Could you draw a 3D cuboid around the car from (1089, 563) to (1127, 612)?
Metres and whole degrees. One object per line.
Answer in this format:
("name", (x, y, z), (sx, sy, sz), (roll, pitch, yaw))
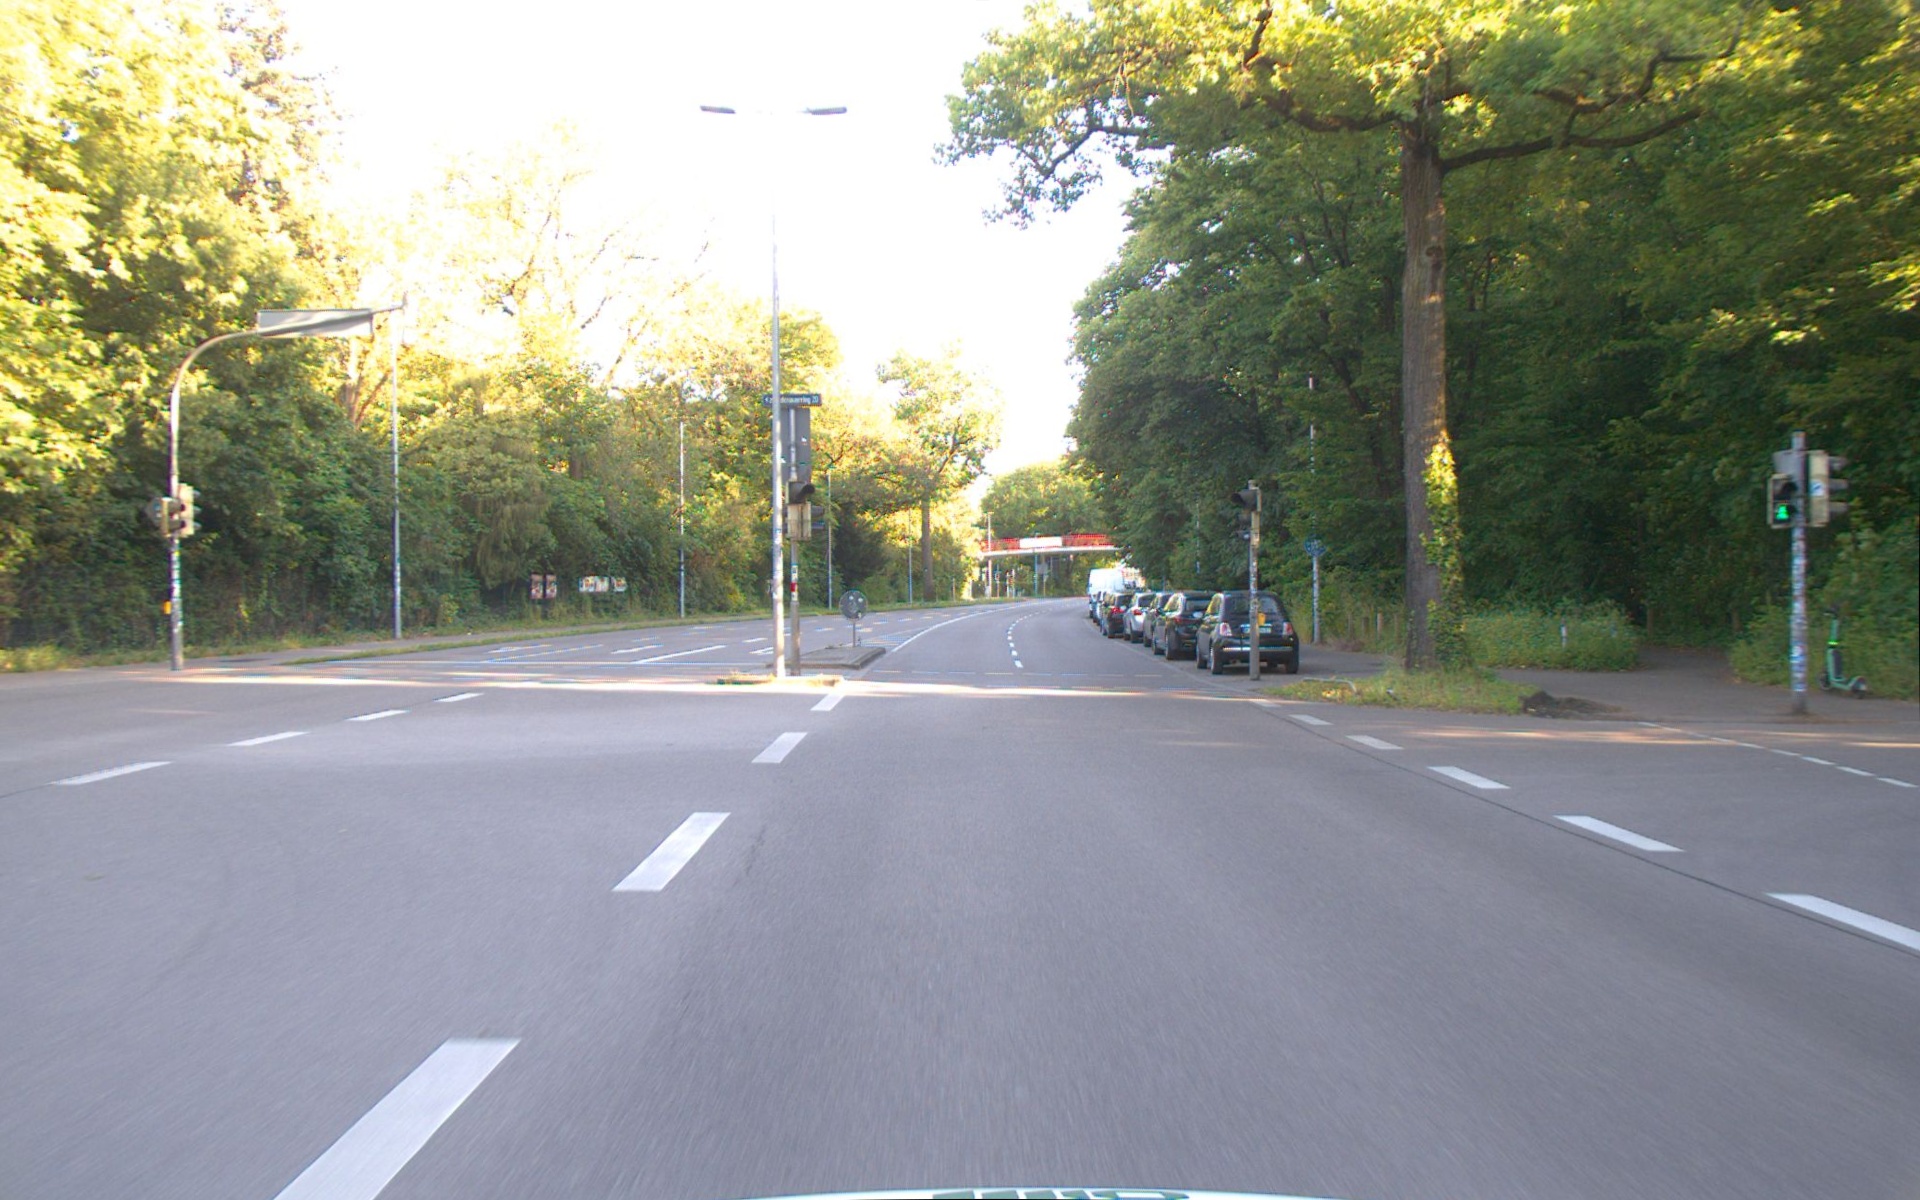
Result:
("car", (7.864, -0.656, 87.634), (1.864, 2.466, 5.580), (-1, 0, 6))

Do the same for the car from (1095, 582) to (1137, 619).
("car", (6.601, 0.028, 70.048), (1.642, 1.489, 3.691), (-1, 0, 4))

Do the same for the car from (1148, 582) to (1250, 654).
("car", (5.432, 0.382, 38.113), (1.682, 1.494, 4.988), (-1, 0, 1))

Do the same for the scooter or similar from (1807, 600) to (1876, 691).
("scooter or similar", (11.779, 0.591, 22.126), (0.370, 1.164, 1.224), (0, 0, 6))

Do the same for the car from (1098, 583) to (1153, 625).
("car", (5.893, 0.135, 59.219), (1.682, 1.436, 4.489), (-1, 0, 2))

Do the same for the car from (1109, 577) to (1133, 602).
("car", (11.954, -0.775, 122.686), (1.721, 1.835, 4.741), (-1, 0, 6))

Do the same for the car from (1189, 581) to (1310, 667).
("car", (5.459, 0.426, 31.591), (1.682, 1.494, 3.757), (-1, 0, 1))

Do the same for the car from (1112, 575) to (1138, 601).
("car", (13.521, -0.995, 135.252), (1.829, 2.016, 5.479), (-1, 0, 8))

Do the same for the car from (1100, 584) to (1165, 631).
("car", (5.581, 0.226, 53.836), (1.682, 1.436, 4.488), (-1, 0, 1))

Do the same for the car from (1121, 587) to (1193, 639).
("car", (5.766, 0.362, 48.886), (1.682, 1.436, 4.125), (-1, 0, 1))

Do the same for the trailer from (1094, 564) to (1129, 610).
("trailer", (8.655, -0.728, 94.378), (1.864, 2.466, 5.130), (-1, 0, 6))

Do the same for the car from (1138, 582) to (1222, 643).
("car", (5.762, 0.313, 43.682), (1.682, 1.494, 4.203), (-1, 0, 1))
